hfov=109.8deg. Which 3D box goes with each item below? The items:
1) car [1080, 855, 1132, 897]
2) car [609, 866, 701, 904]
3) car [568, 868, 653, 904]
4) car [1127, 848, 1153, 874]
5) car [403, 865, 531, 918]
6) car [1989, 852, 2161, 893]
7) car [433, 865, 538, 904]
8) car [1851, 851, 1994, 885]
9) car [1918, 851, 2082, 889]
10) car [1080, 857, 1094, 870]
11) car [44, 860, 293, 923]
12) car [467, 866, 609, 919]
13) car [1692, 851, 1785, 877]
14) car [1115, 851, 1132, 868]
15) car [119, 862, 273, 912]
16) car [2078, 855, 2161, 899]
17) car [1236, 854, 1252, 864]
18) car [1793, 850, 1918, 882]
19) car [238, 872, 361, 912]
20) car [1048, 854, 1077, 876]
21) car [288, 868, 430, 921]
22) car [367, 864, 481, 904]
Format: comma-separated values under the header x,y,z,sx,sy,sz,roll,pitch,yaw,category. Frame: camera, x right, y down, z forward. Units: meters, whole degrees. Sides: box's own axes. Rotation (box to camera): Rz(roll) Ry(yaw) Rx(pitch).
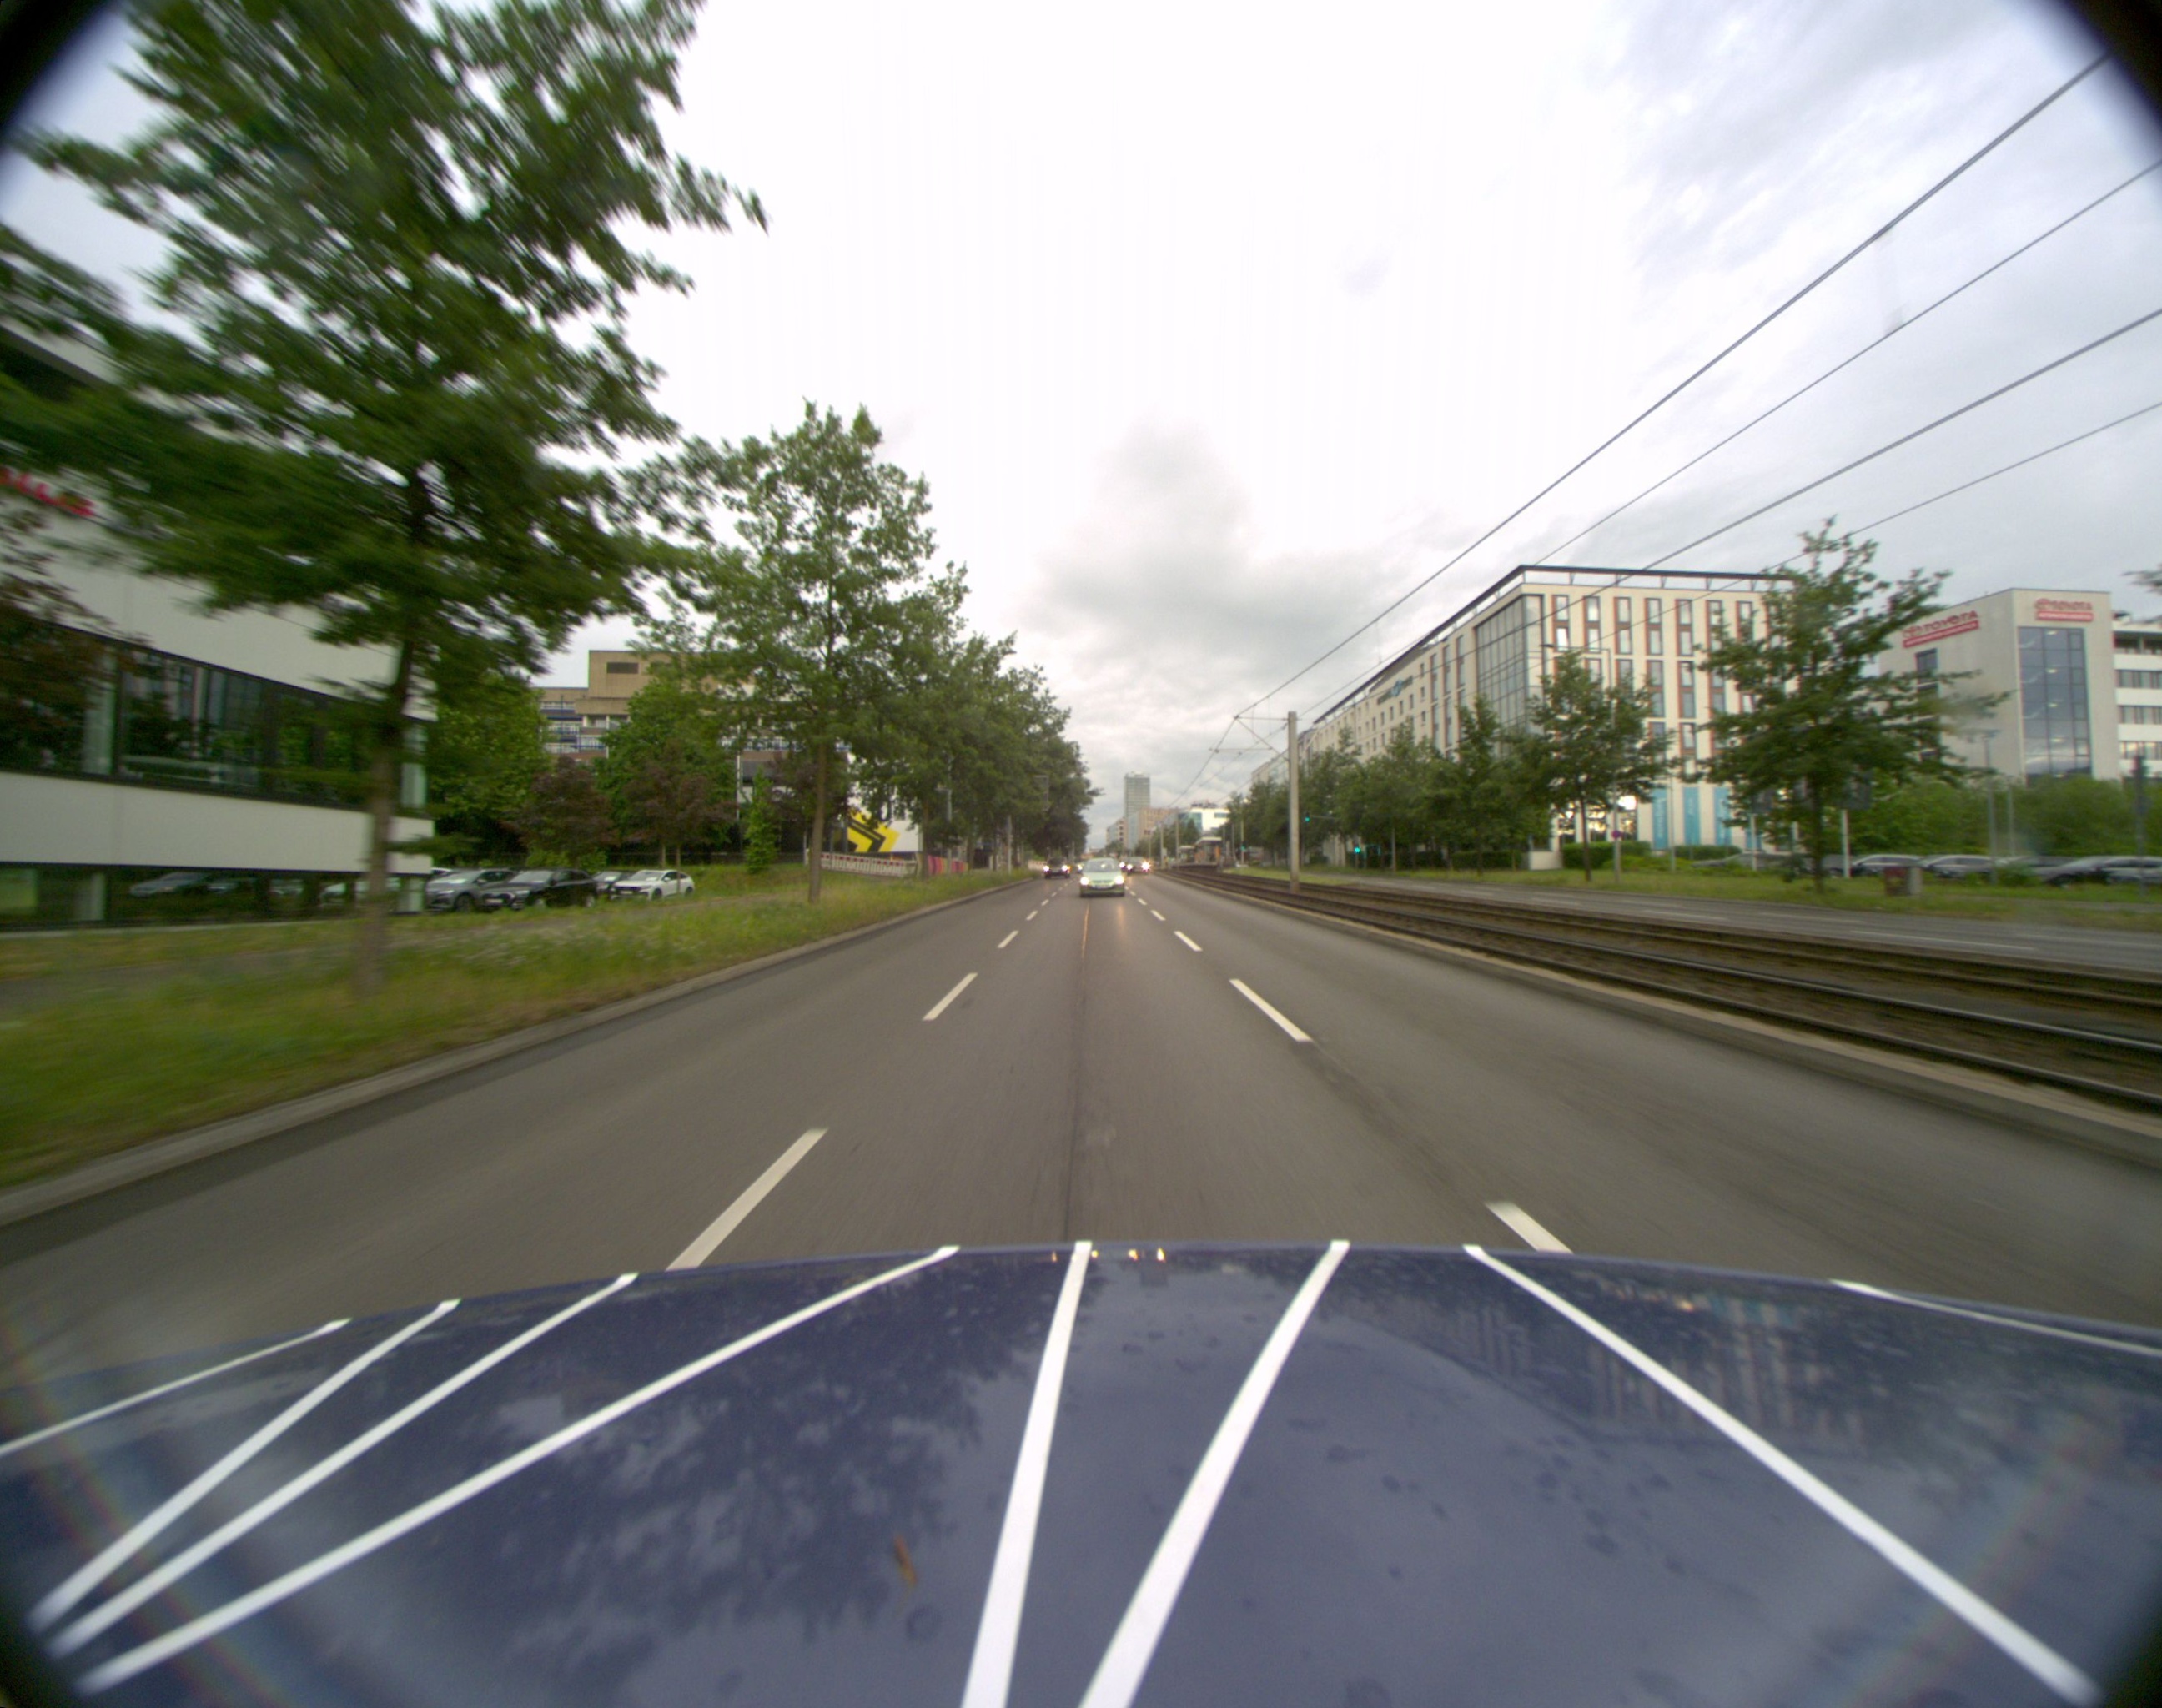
x,y,z,sx,sy,sz,roll,pitch,yaw,category
1.061,0.839,30.305,1.828,1.499,4.116,-2,-1,4,car
-19.676,1.380,35.319,1.702,1.476,4.461,-2,1,0,car
-22.186,1.470,35.995,1.702,1.476,3.641,-2,1,0,car
4.803,0.550,62.640,1.998,2.002,4.000,-3,1,4,car
-22.182,1.310,27.633,1.702,1.666,3.641,1,1,0,car
37.885,0.720,28.839,3.990,1.383,1.806,-2,1,28,car
-26.200,1.307,33.583,1.702,1.476,3.641,-2,1,0,car
38.353,0.634,34.769,3.990,1.383,1.767,-2,1,28,car
38.283,0.670,31.811,3.990,1.383,1.806,-2,1,28,car
0.993,1.441,115.190,1.860,1.798,4.116,-2,-2,3,car
-26.795,1.161,22.519,1.698,1.665,4.543,-2,-4,38,car
-19.808,1.325,28.002,1.907,1.666,4.589,0,1,0,car
38.574,0.580,44.712,3.989,1.383,1.807,-2,1,38,car
5.081,0.688,90.019,1.860,1.798,4.116,-2,-2,4,car
-34.568,1.238,29.844,1.702,1.666,3.641,-2,1,0,car
37.771,0.756,26.046,3.990,1.383,1.806,-2,1,24,car
24.206,0.730,112.869,1.701,1.356,3.818,2,0,4,car
38.479,0.595,37.870,3.990,1.383,1.806,-2,1,28,car
-34.691,1.637,33.888,1.702,1.476,3.641,-3,1,-2,car
-1.425,0.892,59.318,1.828,1.599,4.116,-2,-2,4,car
-26.915,1.456,28.516,1.702,1.666,3.641,-4,1,0,car
-28.265,1.236,32.845,1.702,1.476,3.641,-2,1,0,car
